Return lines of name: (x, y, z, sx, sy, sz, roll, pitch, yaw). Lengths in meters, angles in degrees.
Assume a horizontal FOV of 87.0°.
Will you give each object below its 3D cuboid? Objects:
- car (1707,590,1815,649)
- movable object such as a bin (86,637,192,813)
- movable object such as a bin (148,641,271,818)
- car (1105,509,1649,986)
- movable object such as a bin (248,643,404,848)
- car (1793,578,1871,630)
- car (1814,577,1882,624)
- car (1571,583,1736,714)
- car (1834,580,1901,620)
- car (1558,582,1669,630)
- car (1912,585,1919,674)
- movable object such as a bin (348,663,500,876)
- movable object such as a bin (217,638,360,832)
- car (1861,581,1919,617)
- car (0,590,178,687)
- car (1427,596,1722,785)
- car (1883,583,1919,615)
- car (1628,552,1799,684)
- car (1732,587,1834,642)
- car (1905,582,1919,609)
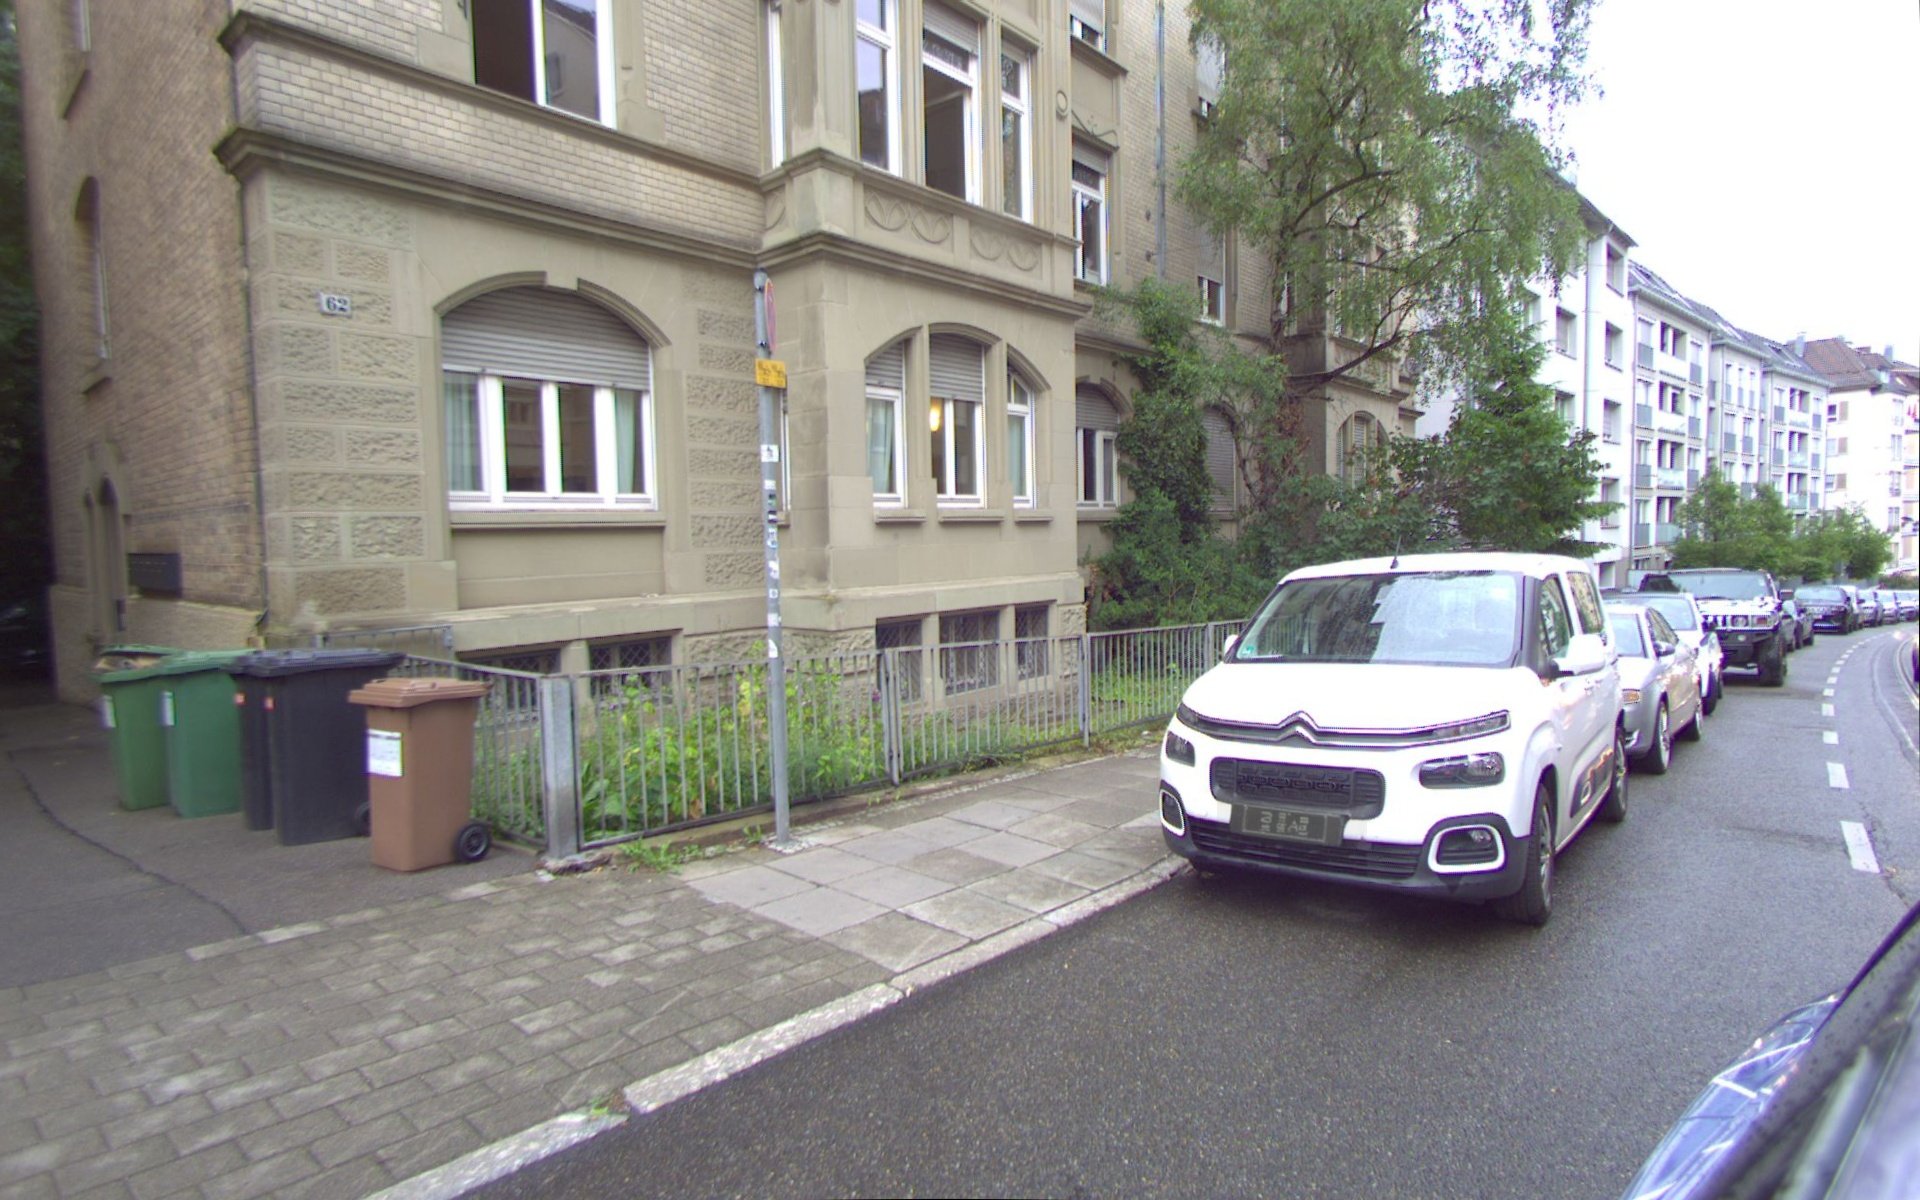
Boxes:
car: (20.378, 0.435, 25.702, 3.819, 1.355, 1.679, -1, 1, -44)
movable object such as a bin: (-5.611, 0.828, 6.912, 0.518, 1.116, 0.471, -3, -1, 42)
movable object such as a bin: (-4.933, 0.820, 6.655, 0.495, 1.075, 0.547, -3, -1, 41)
car: (2.803, 0.534, 6.081, 1.795, 1.787, 4.399, -1, 0, 40)
movable object such as a bin: (-3.606, 0.783, 5.757, 0.653, 1.043, 0.528, -1, -1, -43)
car: (33.052, 0.082, 38.314, 1.943, 1.817, 4.743, 1, 2, 45)
car: (37.061, -0.007, 42.188, 4.398, 1.817, 1.780, -1, 2, -44)
car: (9.651, 0.565, 13.978, 1.557, 1.565, 3.533, -1, 0, 40)
car: (41.382, -0.026, 46.125, 4.608, 1.676, 1.834, -1, 2, -43)
car: (20.831, 0.168, 32.203, 4.079, 1.444, 1.816, 0, 0, -39)
car: (18.007, 0.506, 17.345, 3.925, 1.472, 1.740, 0, 1, -36)
movable object such as a bin: (-2.682, 0.814, 5.071, 0.425, 0.931, 0.529, 3, 2, 38)
movable object such as a bin: (-4.083, 0.788, 6.161, 0.498, 1.075, 0.600, -3, -1, 41)
car: (45.639, -0.071, 49.592, 4.587, 1.648, 1.834, -1, 2, -44)
car: (-17.203, 0.675, 18.801, 3.933, 1.529, 1.796, 7, -1, -45)
car: (6.254, 0.695, 10.040, 1.747, 1.418, 4.411, -1, 0, 41)
car: (49.795, -0.092, 53.085, 1.975, 1.604, 4.495, 2, 2, 43)
car: (13.728, 0.254, 18.285, 2.126, 2.039, 5.272, -1, 0, 40)
car: (23.607, 0.346, 28.985, 4.535, 1.455, 1.795, -1, 1, -45)
car: (57.067, -0.250, 59.341, 4.704, 1.534, 1.862, -1, 2, -40)
